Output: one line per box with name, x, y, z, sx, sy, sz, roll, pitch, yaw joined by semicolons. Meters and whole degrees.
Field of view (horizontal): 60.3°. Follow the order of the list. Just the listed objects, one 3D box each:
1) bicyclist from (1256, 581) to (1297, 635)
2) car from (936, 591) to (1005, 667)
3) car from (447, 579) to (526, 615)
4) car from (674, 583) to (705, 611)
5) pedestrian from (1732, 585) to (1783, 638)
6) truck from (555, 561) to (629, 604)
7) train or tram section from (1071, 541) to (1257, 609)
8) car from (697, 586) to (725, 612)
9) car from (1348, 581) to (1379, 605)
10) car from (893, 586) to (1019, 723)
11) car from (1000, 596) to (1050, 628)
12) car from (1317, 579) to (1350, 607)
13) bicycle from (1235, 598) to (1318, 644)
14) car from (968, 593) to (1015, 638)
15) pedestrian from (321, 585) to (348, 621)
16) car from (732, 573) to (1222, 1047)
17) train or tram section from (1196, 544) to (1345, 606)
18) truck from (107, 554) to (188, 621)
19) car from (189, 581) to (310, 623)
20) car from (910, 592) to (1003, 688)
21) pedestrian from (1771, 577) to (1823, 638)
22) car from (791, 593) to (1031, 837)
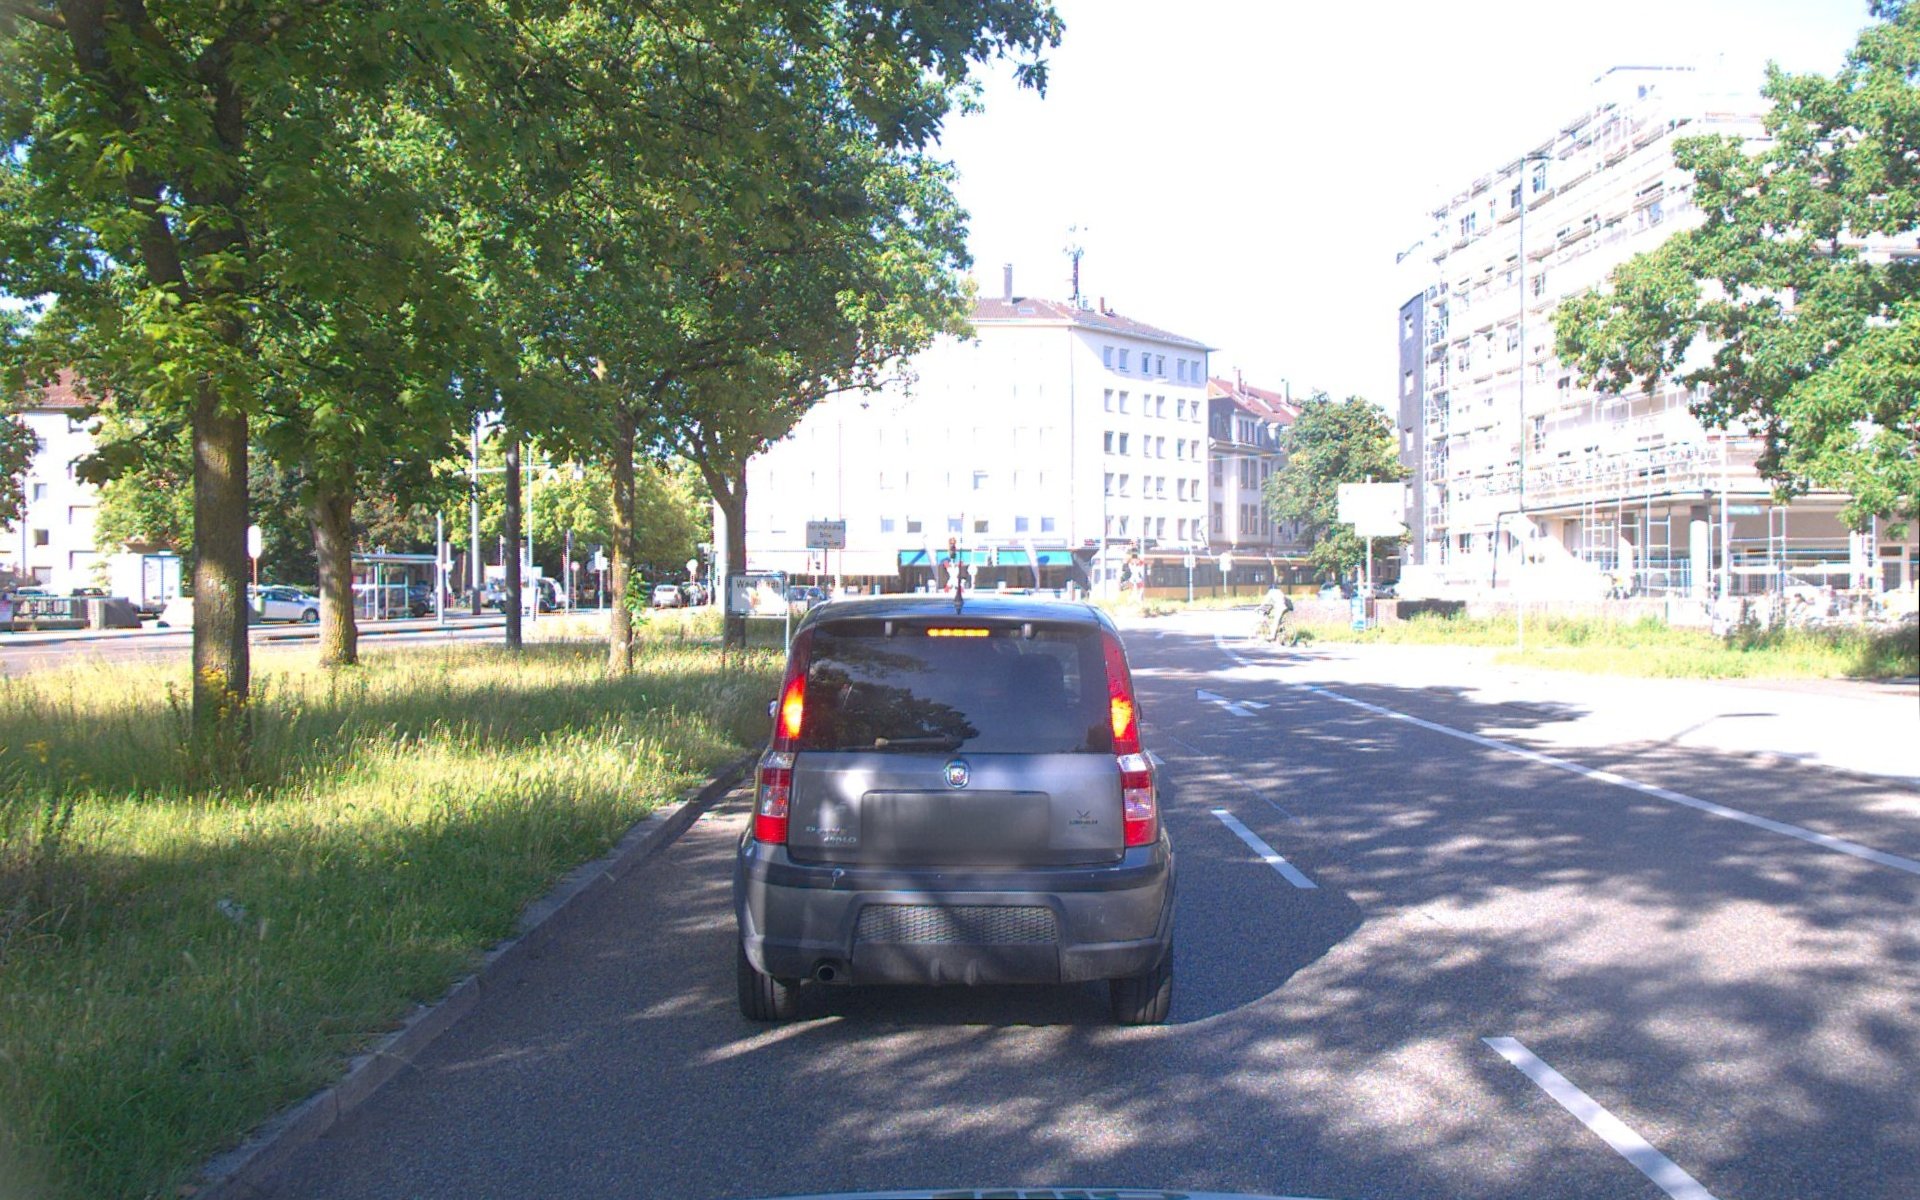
bicyclist;8.727;0.224;45.637;0.735;1.463;0.835;1;-1;-33
car;0.179;0.556;33.858;1.328;1.475;3.265;0;0;-1
car;-27.915;-0.180;97.551;4.093;2.049;1.930;0;0;-3
car;-20.147;-0.245;123.283;1.954;2.049;3.996;0;1;-5
pedestrian;22.393;0.311;46.459;0.877;1.472;0.962;0;0;-14
truck;-28.351;-1.355;127.367;5.371;3.224;2.341;0;0;28
train or tram section;12.356;-1.457;96.718;3.235;3.574;19.341;0;1;31
car;-20.030;-0.113;133.002;1.954;2.049;3.996;0;1;-5
car;23.015;-0.399;94.238;1.495;1.337;3.289;0;1;17
car;-0.071;0.604;20.670;1.434;1.534;3.504;0;1;-1
car;2.288;0.401;57.699;1.118;1.083;2.723;0;1;17
car;20.510;-0.396;90.708;1.646;1.475;3.574;0;1;15
bicycle;8.721;0.571;45.692;0.702;1.219;2.491;1;0;-33
car;0.921;0.443;49.604;1.328;1.304;2.875;0;1;-1
pedestrian;-29.206;0.144;77.219;0.904;1.636;0.794;0;0;38
car;0.031;0.661;7.409;1.595;1.534;3.999;0;1;-1
train or tram section;21.441;-1.700;112.194;3.234;3.836;20.769;0;1;30
truck;-35.740;-0.550;72.689;3.932;2.854;1.987;0;1;44
car;-29.951;0.050;69.782;1.961;1.713;4.302;0;1;38
car;-0.079;0.609;27.254;1.434;1.449;3.381;0;1;-1
pedestrian;23.543;0.202;46.509;0.875;1.682;0.982;0;0;-20
car;-0.318;0.682;11.625;1.434;1.425;3.393;0;1;-1
